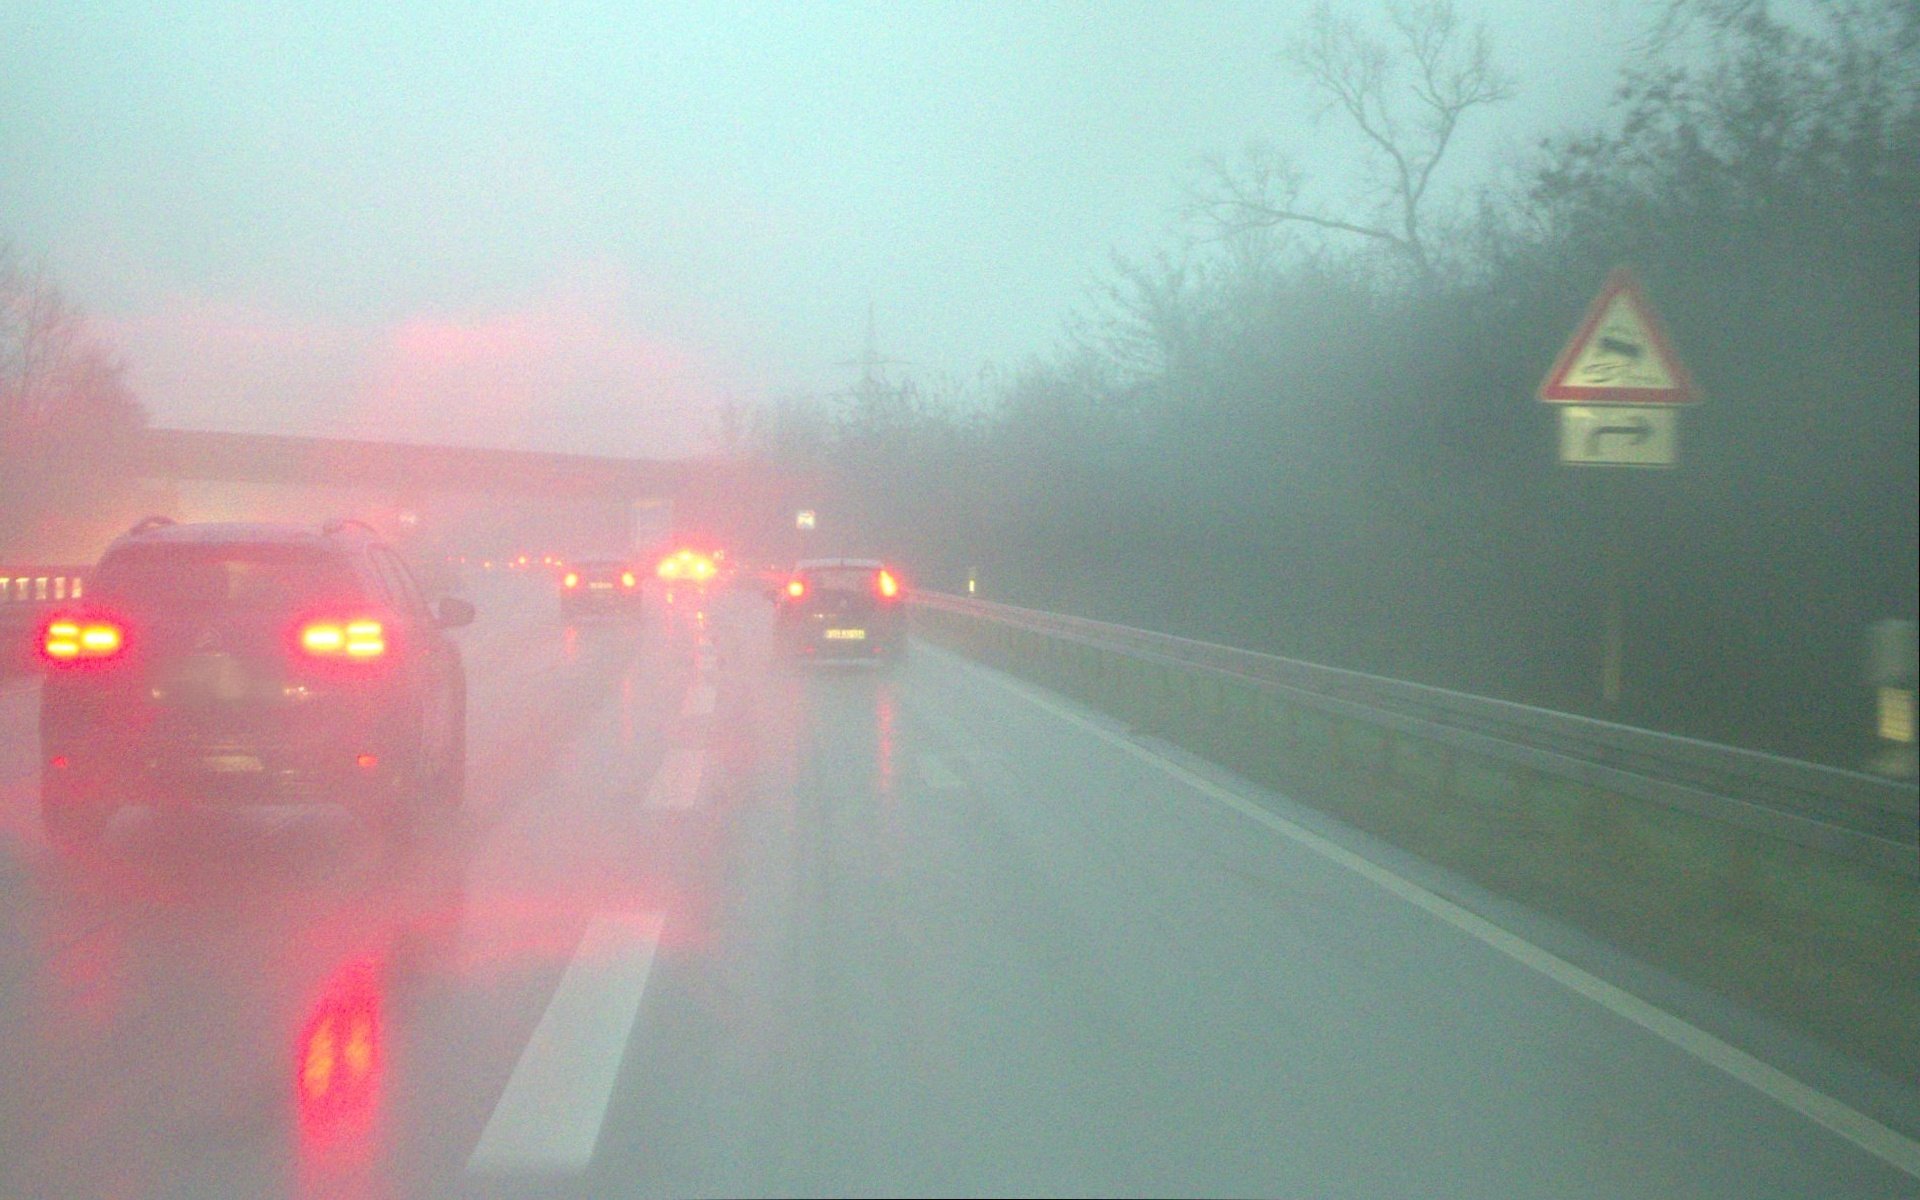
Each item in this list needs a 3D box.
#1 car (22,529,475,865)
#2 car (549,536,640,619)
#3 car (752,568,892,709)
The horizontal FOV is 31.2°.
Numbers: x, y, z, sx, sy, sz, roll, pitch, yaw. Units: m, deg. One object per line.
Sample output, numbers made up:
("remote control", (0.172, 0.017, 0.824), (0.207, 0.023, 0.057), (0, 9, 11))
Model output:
("car", (-3.798, 0.446, 19.011), (1.993, 1.659, 4.001), (0, 1, -5))
("car", (-7.977, -0.509, 74.784), (1.878, 1.612, 3.876), (2, 2, -7))
("car", (-1.870, 0.475, 45.606), (1.732, 1.424, 3.767), (1, 6, -4))
